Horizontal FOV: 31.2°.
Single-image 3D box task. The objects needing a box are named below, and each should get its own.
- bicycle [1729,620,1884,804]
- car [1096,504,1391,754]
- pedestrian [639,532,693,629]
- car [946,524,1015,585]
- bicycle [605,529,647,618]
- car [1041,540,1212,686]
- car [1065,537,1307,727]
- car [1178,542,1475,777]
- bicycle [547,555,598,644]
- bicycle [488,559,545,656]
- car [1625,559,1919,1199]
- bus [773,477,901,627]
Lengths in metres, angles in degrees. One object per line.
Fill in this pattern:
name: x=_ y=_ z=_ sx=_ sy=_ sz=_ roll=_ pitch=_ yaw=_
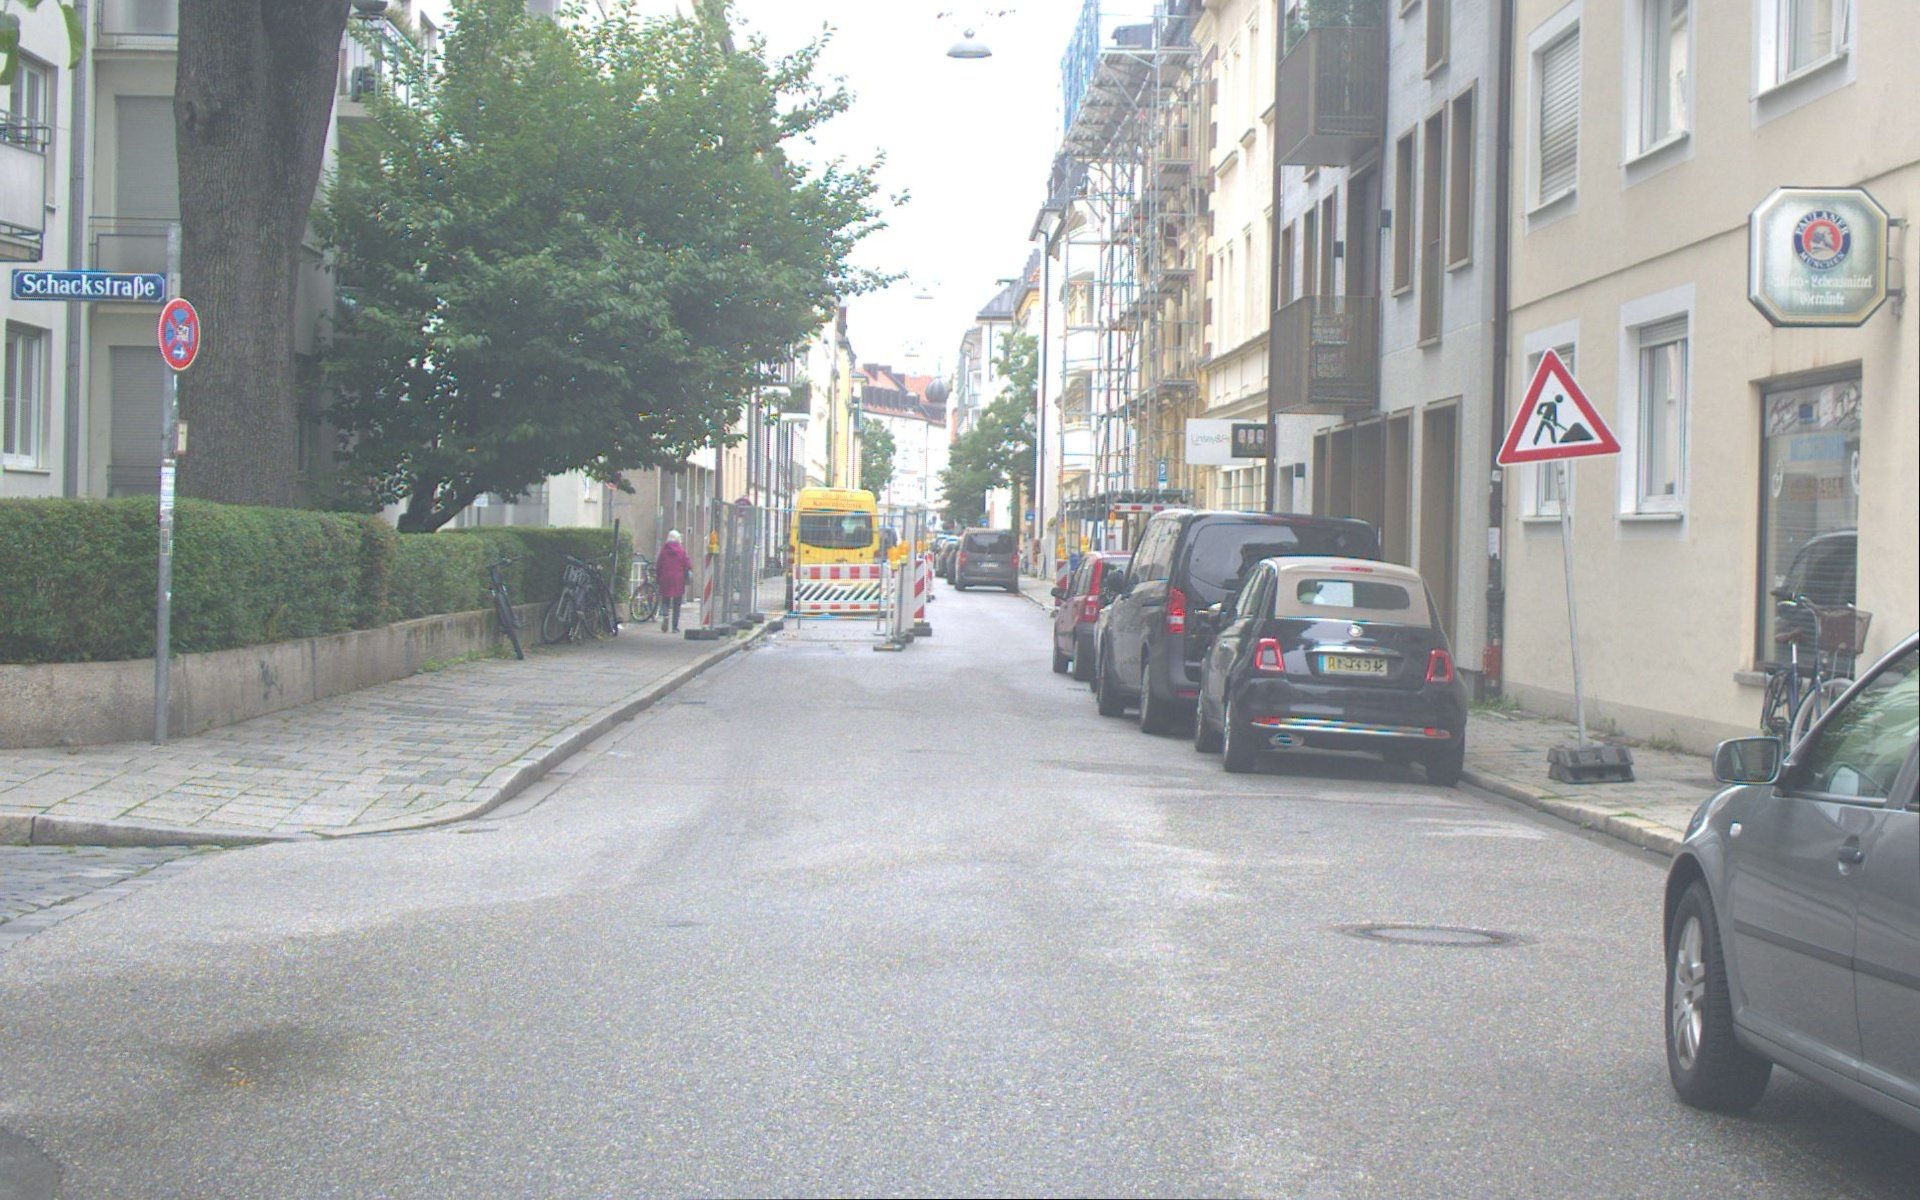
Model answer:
bicycle: x=5.046 y=0.645 z=20.569 sx=0.474 sy=1.022 sz=1.705 roll=-1 pitch=1 yaw=-1
car: x=2.302 y=0.182 z=28.961 sx=1.801 sy=1.814 sz=4.001 roll=5 pitch=1 yaw=-3
pedestrian: x=-4.514 y=-0.301 z=52.901 sx=0.756 sy=1.486 sz=0.831 roll=1 pitch=0 yaw=-1
car: x=0.628 y=-1.422 z=106.614 sx=1.801 sy=1.706 sz=3.827 roll=5 pitch=1 yaw=-3
bicycle: x=-5.379 y=-0.434 z=55.467 sx=0.514 sy=1.413 sz=1.934 roll=1 pitch=1 yaw=-1
car: x=1.929 y=0.112 z=40.843 sx=1.635 sy=1.509 sz=3.829 roll=5 pitch=1 yaw=-1
car: x=2.104 y=0.253 z=33.057 sx=1.801 sy=1.562 sz=4.001 roll=5 pitch=1 yaw=-2
car: x=2.542 y=0.362 z=24.605 sx=1.624 sy=1.482 sz=3.808 roll=2 pitch=1 yaw=-1
bicycle: x=-4.801 y=-0.019 z=42.671 sx=0.446 sy=1.069 sz=2.468 roll=1 pitch=1 yaw=-2
bicycle: x=-4.783 y=0.068 z=37.134 sx=0.414 sy=1.017 sz=1.854 roll=1 pitch=1 yaw=-1
car: x=2.856 y=0.673 z=7.776 sx=1.744 sy=1.440 sz=4.001 roll=2 pitch=1 yaw=-2
bus: x=-2.614 y=-1.027 z=74.549 sx=2.592 sy=3.091 sz=6.306 roll=1 pitch=1 yaw=-1
